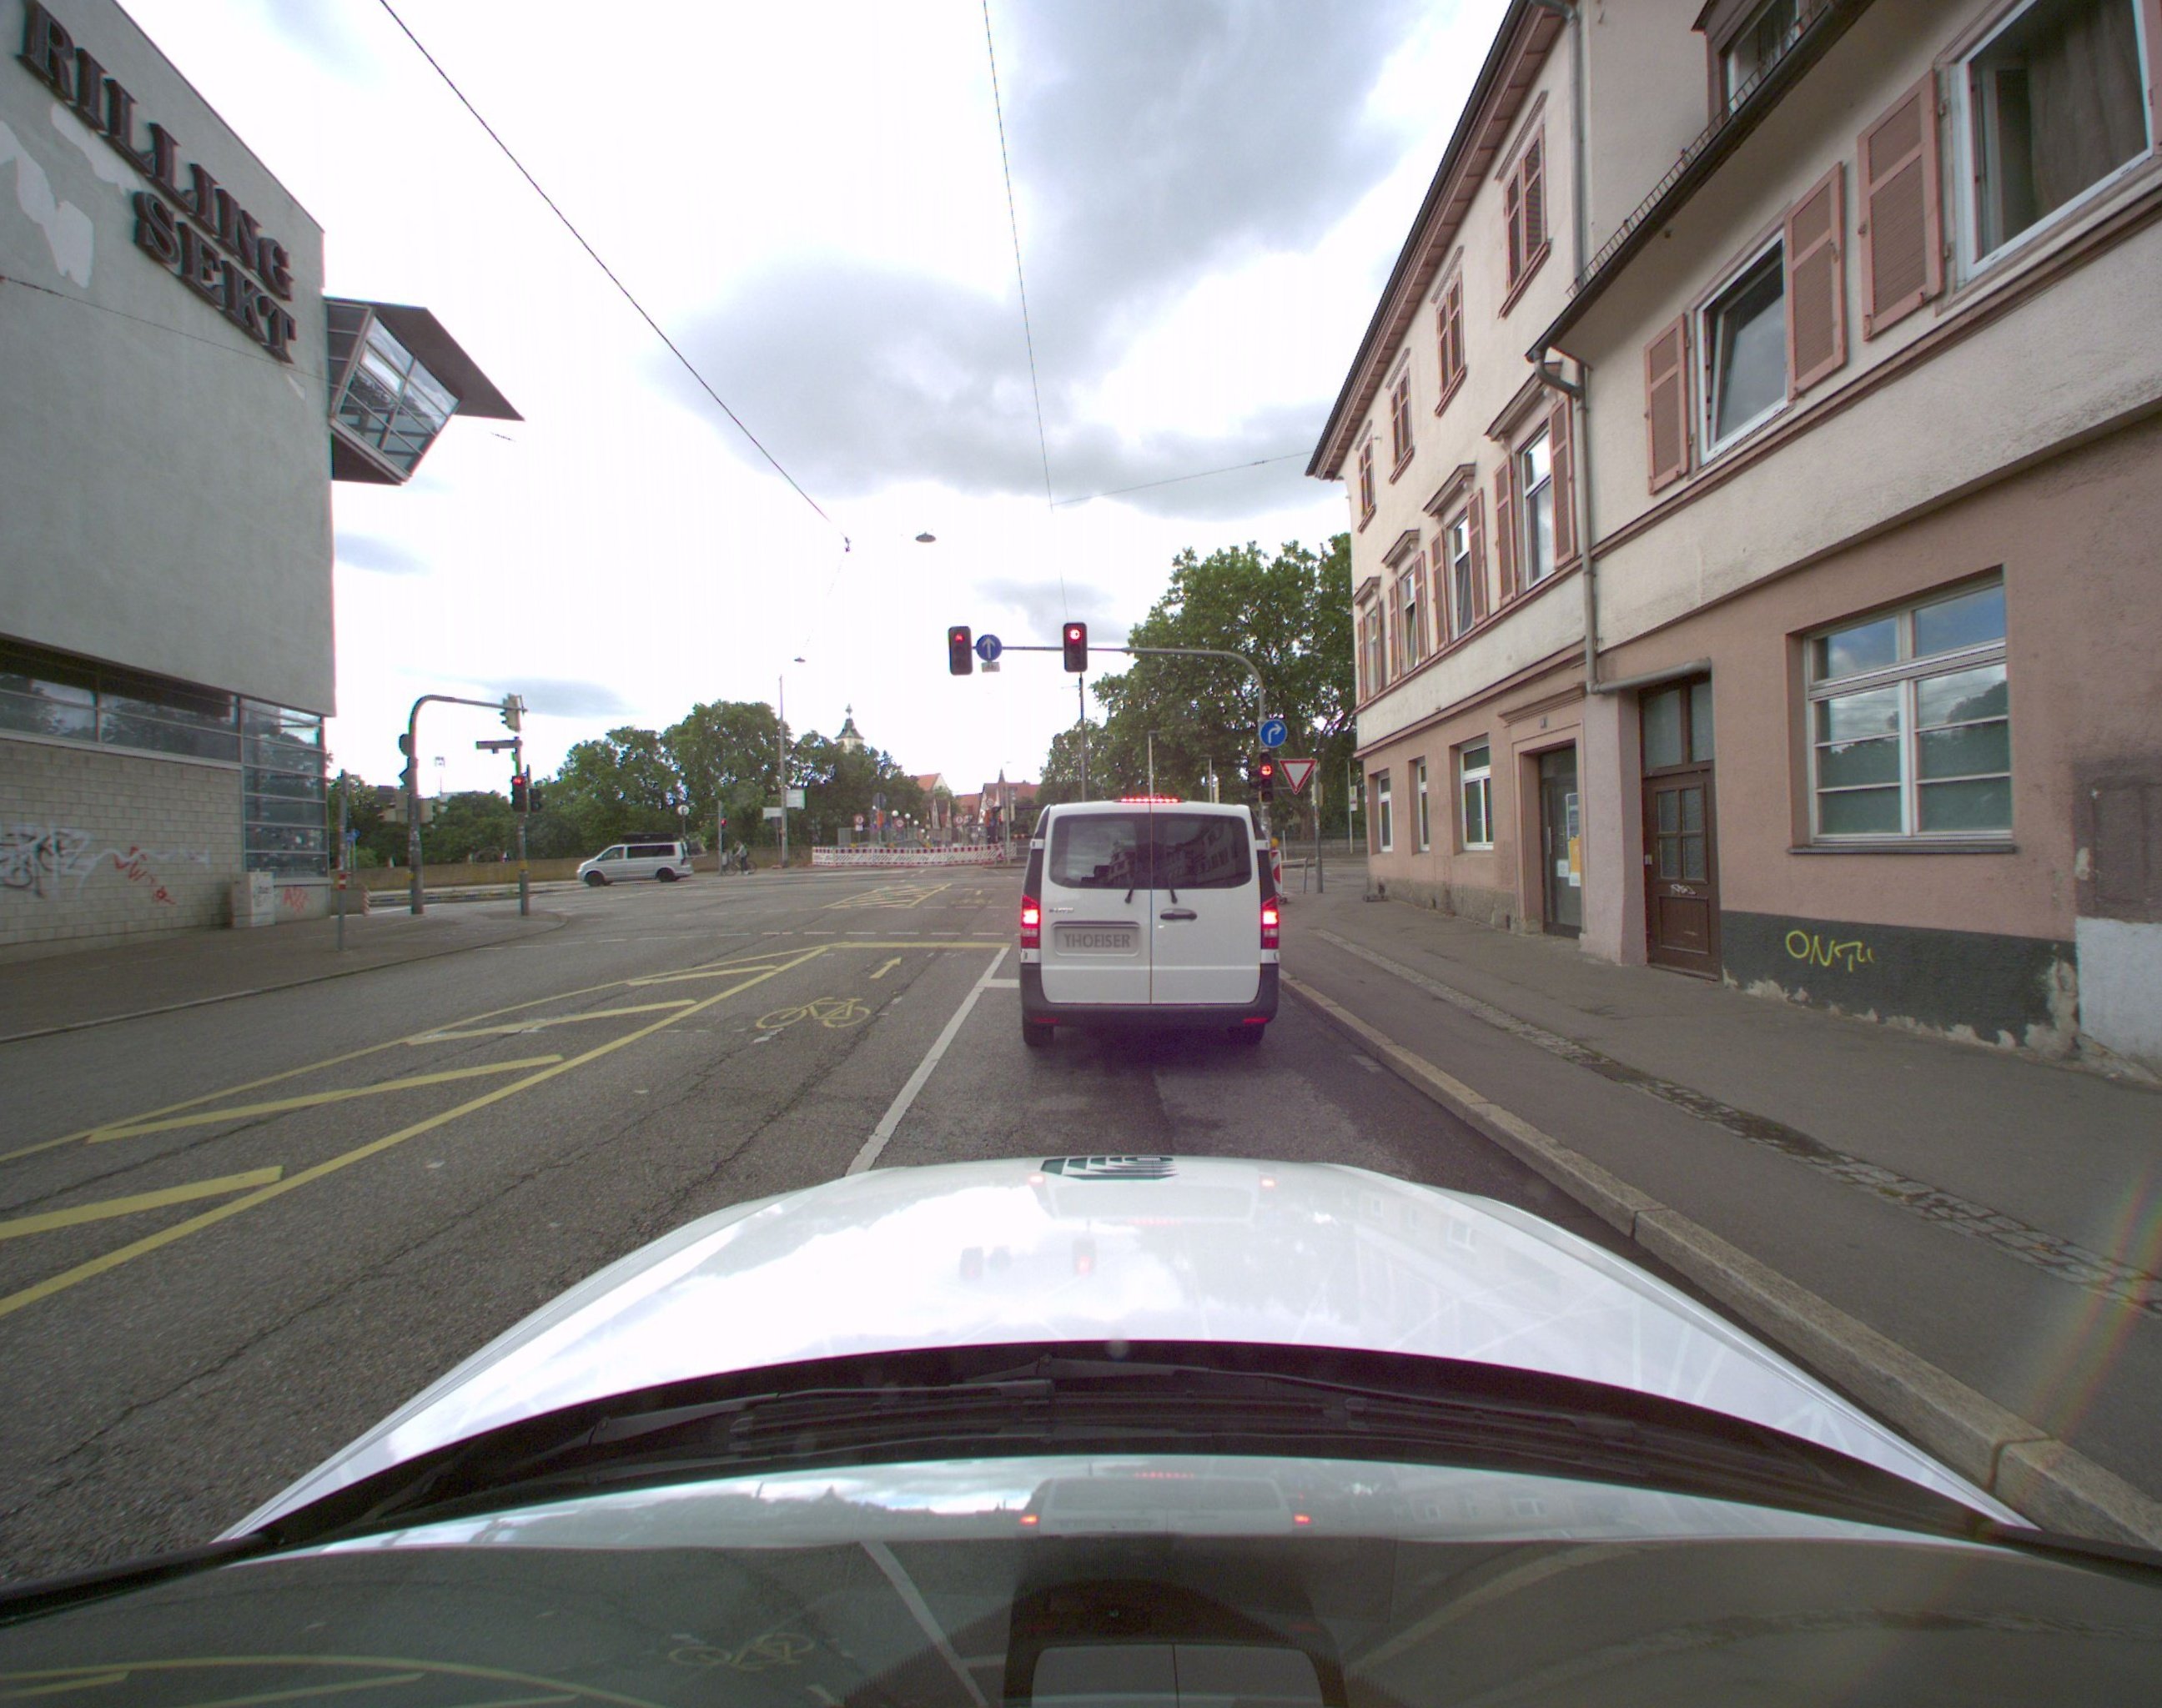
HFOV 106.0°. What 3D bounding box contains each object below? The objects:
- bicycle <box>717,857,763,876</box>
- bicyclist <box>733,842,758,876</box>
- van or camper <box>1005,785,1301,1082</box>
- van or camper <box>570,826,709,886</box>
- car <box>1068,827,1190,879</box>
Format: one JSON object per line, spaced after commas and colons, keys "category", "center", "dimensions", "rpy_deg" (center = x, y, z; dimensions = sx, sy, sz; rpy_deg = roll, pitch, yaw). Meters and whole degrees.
{"category": "bicycle", "center": [-18.192, 0.641, 43.486], "dimensions": [2.149, 0.892, 0.751], "rpy_deg": [-3, 2, -39]}
{"category": "bicyclist", "center": [-17.884, 0.268, 43.444], "dimensions": [1.010, 1.743, 0.746], "rpy_deg": [-2, 1, -40]}
{"category": "van or camper", "center": [0.440, 0.447, 7.541], "dimensions": [1.932, 1.924, 4.439], "rpy_deg": [0, 2, -1]}
{"category": "van or camper", "center": [-20.882, 0.095, 38.815], "dimensions": [5.403, 2.513, 2.025], "rpy_deg": [-3, -1, -16]}
{"category": "car", "center": [1.645, -0.054, 28.357], "dimensions": [4.056, 1.573, 1.828], "rpy_deg": [-2, 2, 0]}
